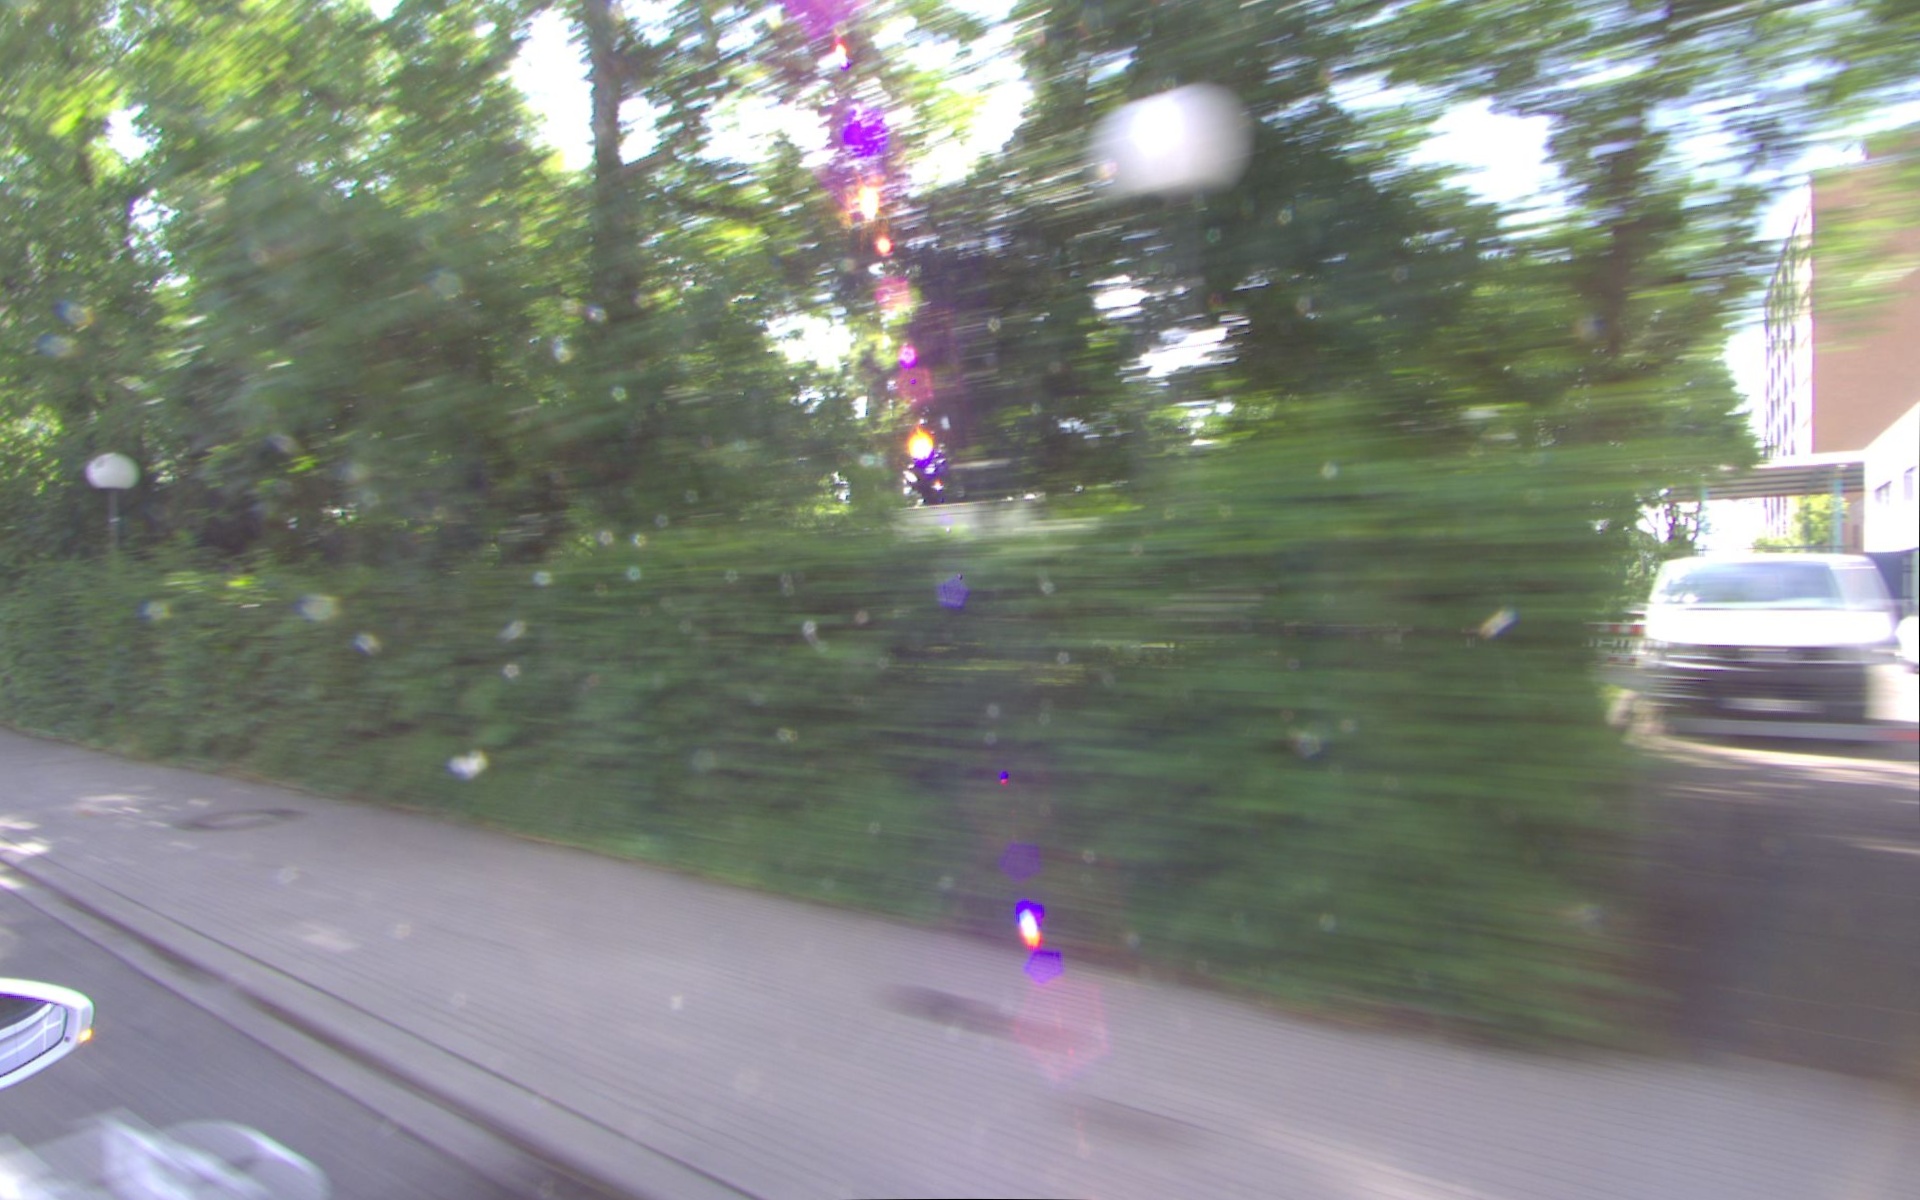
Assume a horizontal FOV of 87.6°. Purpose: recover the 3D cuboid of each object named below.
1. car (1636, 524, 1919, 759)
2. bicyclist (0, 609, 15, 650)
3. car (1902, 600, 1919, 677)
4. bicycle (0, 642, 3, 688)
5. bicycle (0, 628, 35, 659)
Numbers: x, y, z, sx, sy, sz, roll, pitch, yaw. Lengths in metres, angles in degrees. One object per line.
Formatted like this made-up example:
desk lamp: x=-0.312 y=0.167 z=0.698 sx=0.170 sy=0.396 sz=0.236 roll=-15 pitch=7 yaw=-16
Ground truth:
car: x=8.913 y=0.388 z=11.230 sx=2.035 sy=2.040 sz=4.809 roll=-1 pitch=-1 yaw=36
bicyclist: x=-35.005 y=1.070 z=36.417 sx=0.772 sy=1.471 sz=0.516 roll=0 pitch=0 yaw=-5
car: x=20.172 y=0.742 z=19.591 sx=1.975 sy=1.563 sz=4.067 roll=-3 pitch=-2 yaw=36
bicycle: x=-21.217 y=1.349 z=20.845 sx=0.585 sy=1.142 sz=1.734 roll=-2 pitch=1 yaw=29
bicycle: x=-35.038 y=1.582 z=36.429 sx=2.132 sy=1.145 sz=0.552 roll=0 pitch=0 yaw=-5
